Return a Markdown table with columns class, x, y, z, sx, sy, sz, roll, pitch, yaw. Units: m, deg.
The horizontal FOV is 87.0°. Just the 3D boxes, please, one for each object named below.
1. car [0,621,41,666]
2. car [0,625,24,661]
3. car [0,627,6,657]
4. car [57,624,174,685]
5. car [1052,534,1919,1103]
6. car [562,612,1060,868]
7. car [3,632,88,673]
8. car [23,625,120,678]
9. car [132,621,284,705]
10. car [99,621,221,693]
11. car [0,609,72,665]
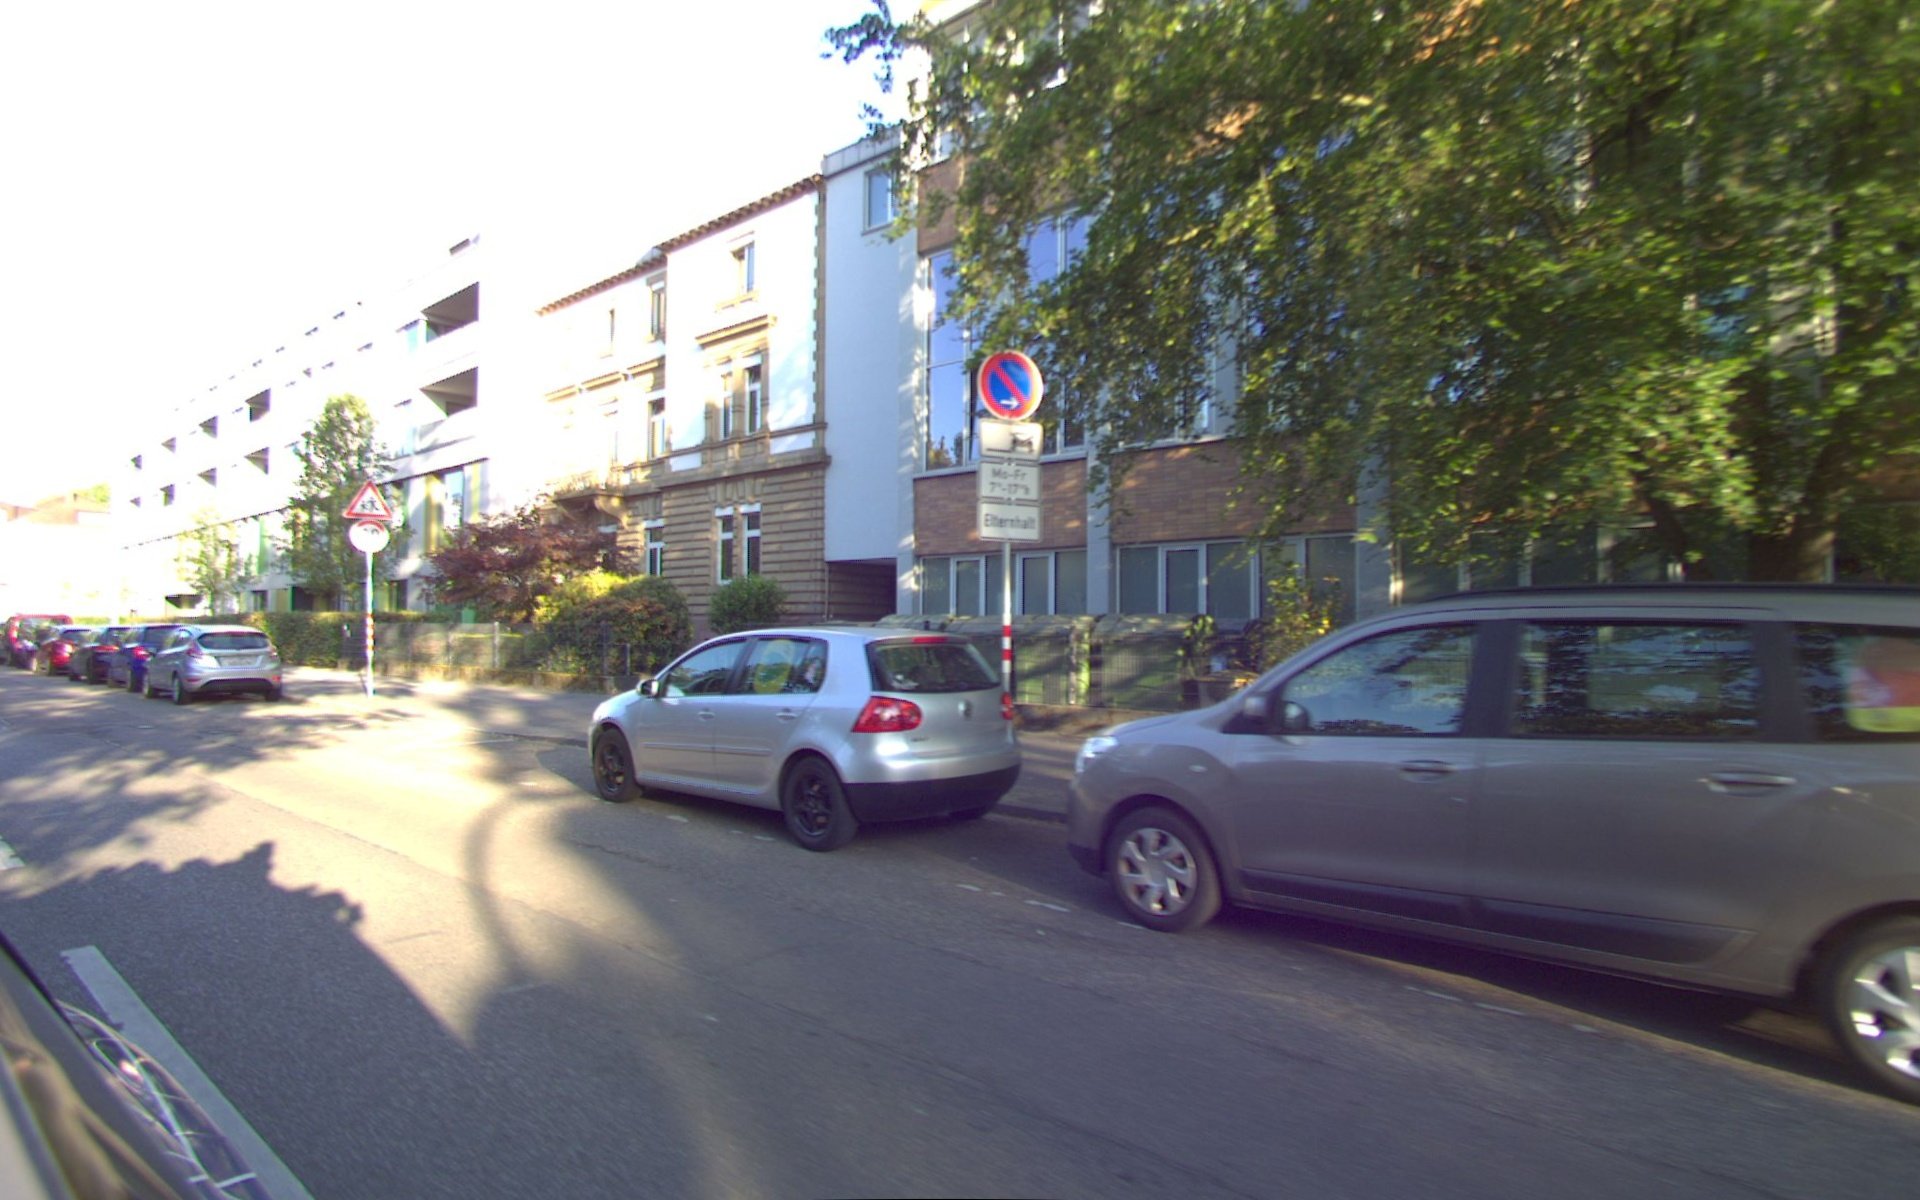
| class | x | y | z | sx | sy | sz | roll | pitch | yaw |
| --- | --- | --- | --- | --- | --- | --- | --- | --- | --- |
| car | -37.920 | 1.695 | 40.049 | 4.413 | 1.689 | 1.724 | -1 | -2 | 40 |
| car | -42.161 | 1.852 | 43.881 | 4.111 | 1.545 | 1.725 | -2 | -2 | 39 |
| car | -45.629 | 1.915 | 46.818 | 4.394 | 1.367 | 1.724 | -1 | -3 | 41 |
| car | -21.766 | 1.391 | 26.052 | 4.051 | 1.466 | 1.582 | -2 | -4 | 40 |
| car | 2.643 | 0.726 | 4.446 | 4.338 | 1.721 | 1.661 | -2 | -4 | 42 |
| car | -1.341 | 0.916 | 7.958 | 4.059 | 1.505 | 1.653 | -2 | -4 | 42 |
| car | -30.196 | 1.718 | 33.384 | 3.730 | 1.290 | 1.540 | -2 | -4 | 40 |
| car | -26.503 | 1.505 | 30.149 | 3.858 | 1.466 | 1.582 | -1 | -3 | 40 |
| car | -14.919 | 1.221 | 20.022 | 3.769 | 1.505 | 1.584 | -2 | -4 | 41 |
| car | -18.304 | 1.285 | 23.101 | 3.787 | 1.519 | 1.581 | -2 | -4 | 43 |
| car | -33.857 | 1.358 | 36.712 | 4.234 | 1.904 | 1.789 | -2 | -4 | 40 |
